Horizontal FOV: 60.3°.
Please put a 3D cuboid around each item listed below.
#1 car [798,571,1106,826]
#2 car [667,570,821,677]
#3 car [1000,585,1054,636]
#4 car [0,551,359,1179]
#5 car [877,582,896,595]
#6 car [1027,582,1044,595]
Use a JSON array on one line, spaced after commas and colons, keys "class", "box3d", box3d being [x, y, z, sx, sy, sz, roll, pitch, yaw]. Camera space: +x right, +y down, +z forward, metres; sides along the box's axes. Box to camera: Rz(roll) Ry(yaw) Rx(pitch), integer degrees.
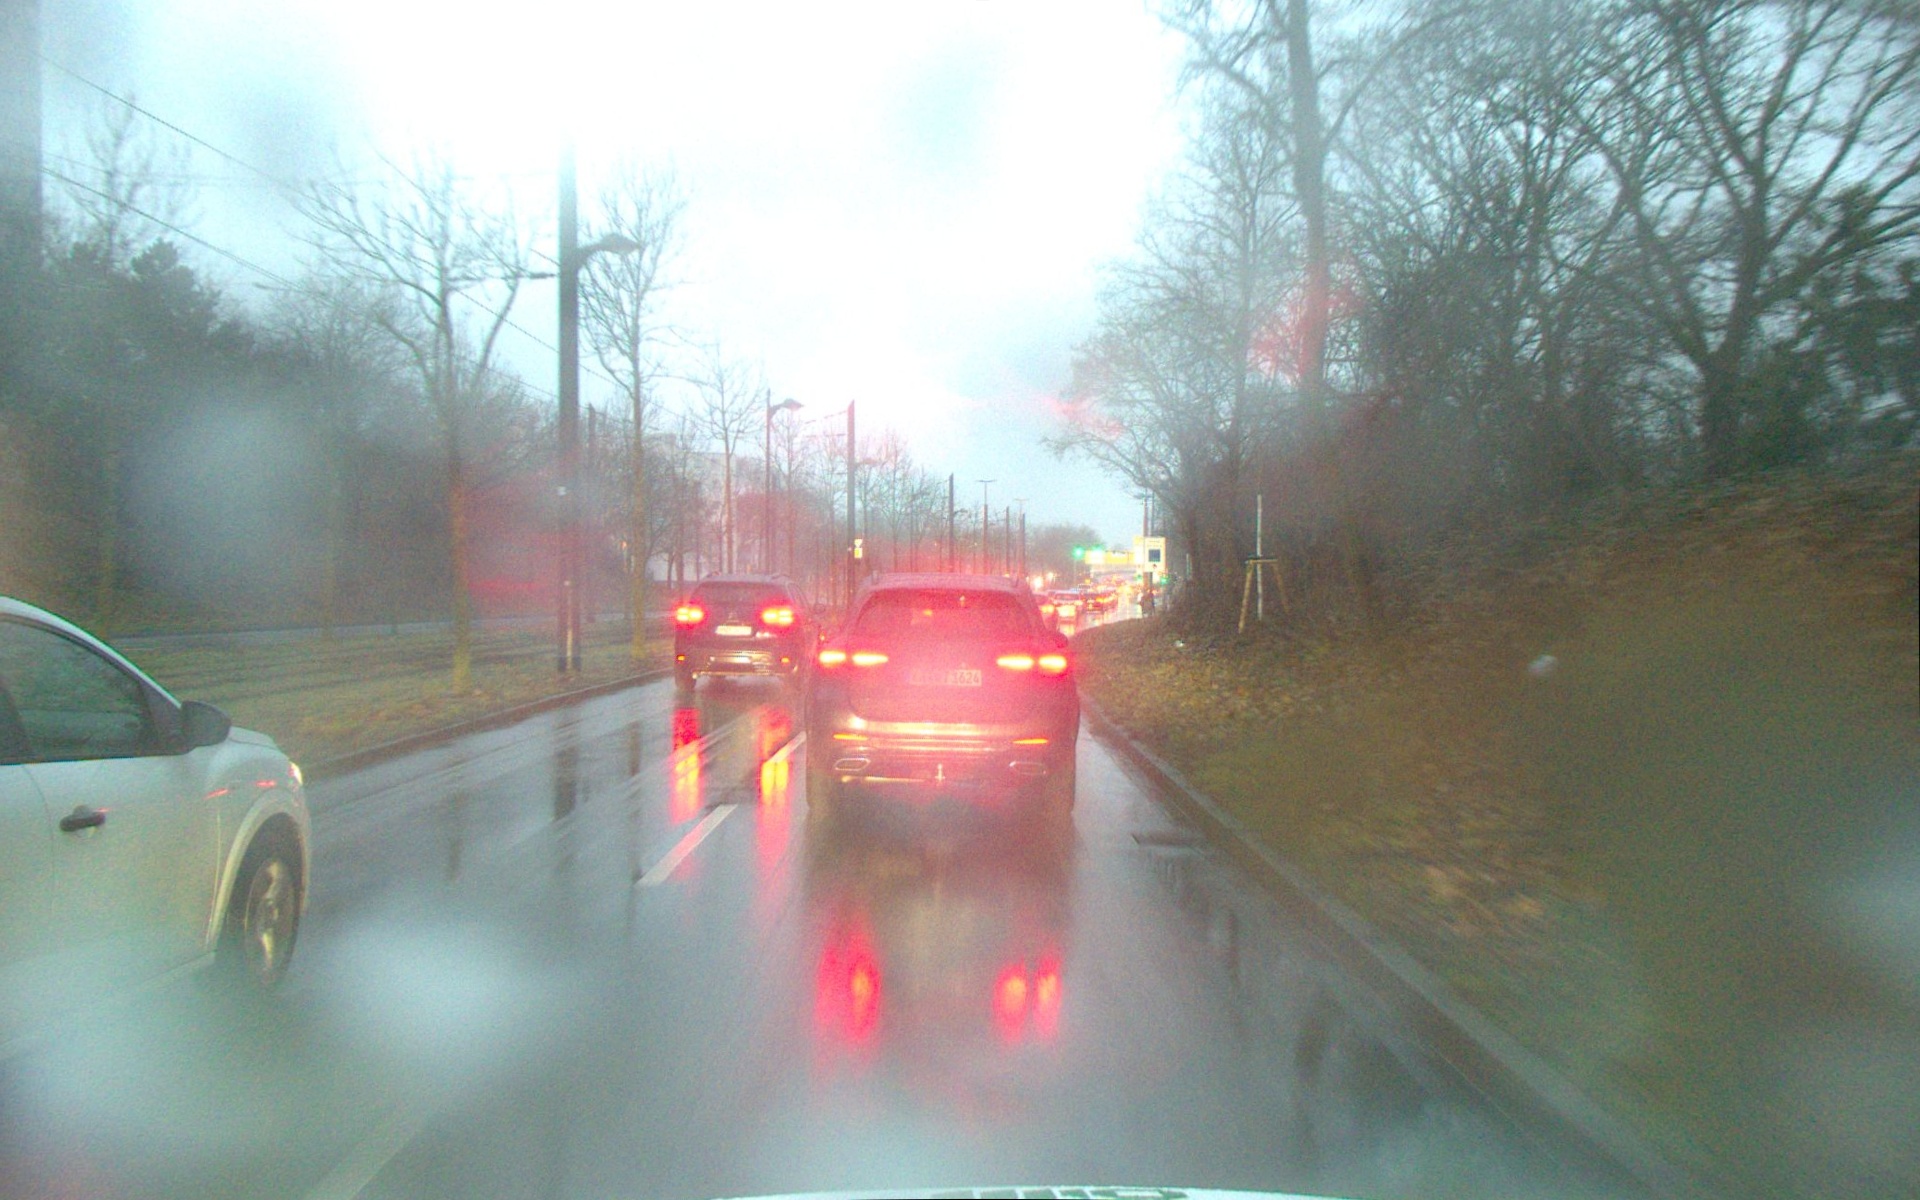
[{"class": "car", "box3d": [-0.066, 0.607, 12.597, 1.957, 1.612, 4.000, 1, 1, -1]}, {"class": "car", "box3d": [-3.168, 0.296, 24.992, 1.842, 1.485, 4.000, 0, 1, -1]}, {"class": "car", "box3d": [2.146, 0.322, 53.892, 1.673, 1.585, 3.997, 0, 0, 1]}, {"class": "car", "box3d": [-3.210, 0.651, 4.499, 1.674, 1.551, 4.134, 0, 0, -1]}, {"class": "car", "box3d": [-9.550, -1.478, 214.982, 1.951, 1.687, 4.003, 1, 0, 6]}, {"class": "car", "box3d": [10.137, -1.526, 222.096, 1.951, 1.695, 3.839, -1, 0, 6]}]
